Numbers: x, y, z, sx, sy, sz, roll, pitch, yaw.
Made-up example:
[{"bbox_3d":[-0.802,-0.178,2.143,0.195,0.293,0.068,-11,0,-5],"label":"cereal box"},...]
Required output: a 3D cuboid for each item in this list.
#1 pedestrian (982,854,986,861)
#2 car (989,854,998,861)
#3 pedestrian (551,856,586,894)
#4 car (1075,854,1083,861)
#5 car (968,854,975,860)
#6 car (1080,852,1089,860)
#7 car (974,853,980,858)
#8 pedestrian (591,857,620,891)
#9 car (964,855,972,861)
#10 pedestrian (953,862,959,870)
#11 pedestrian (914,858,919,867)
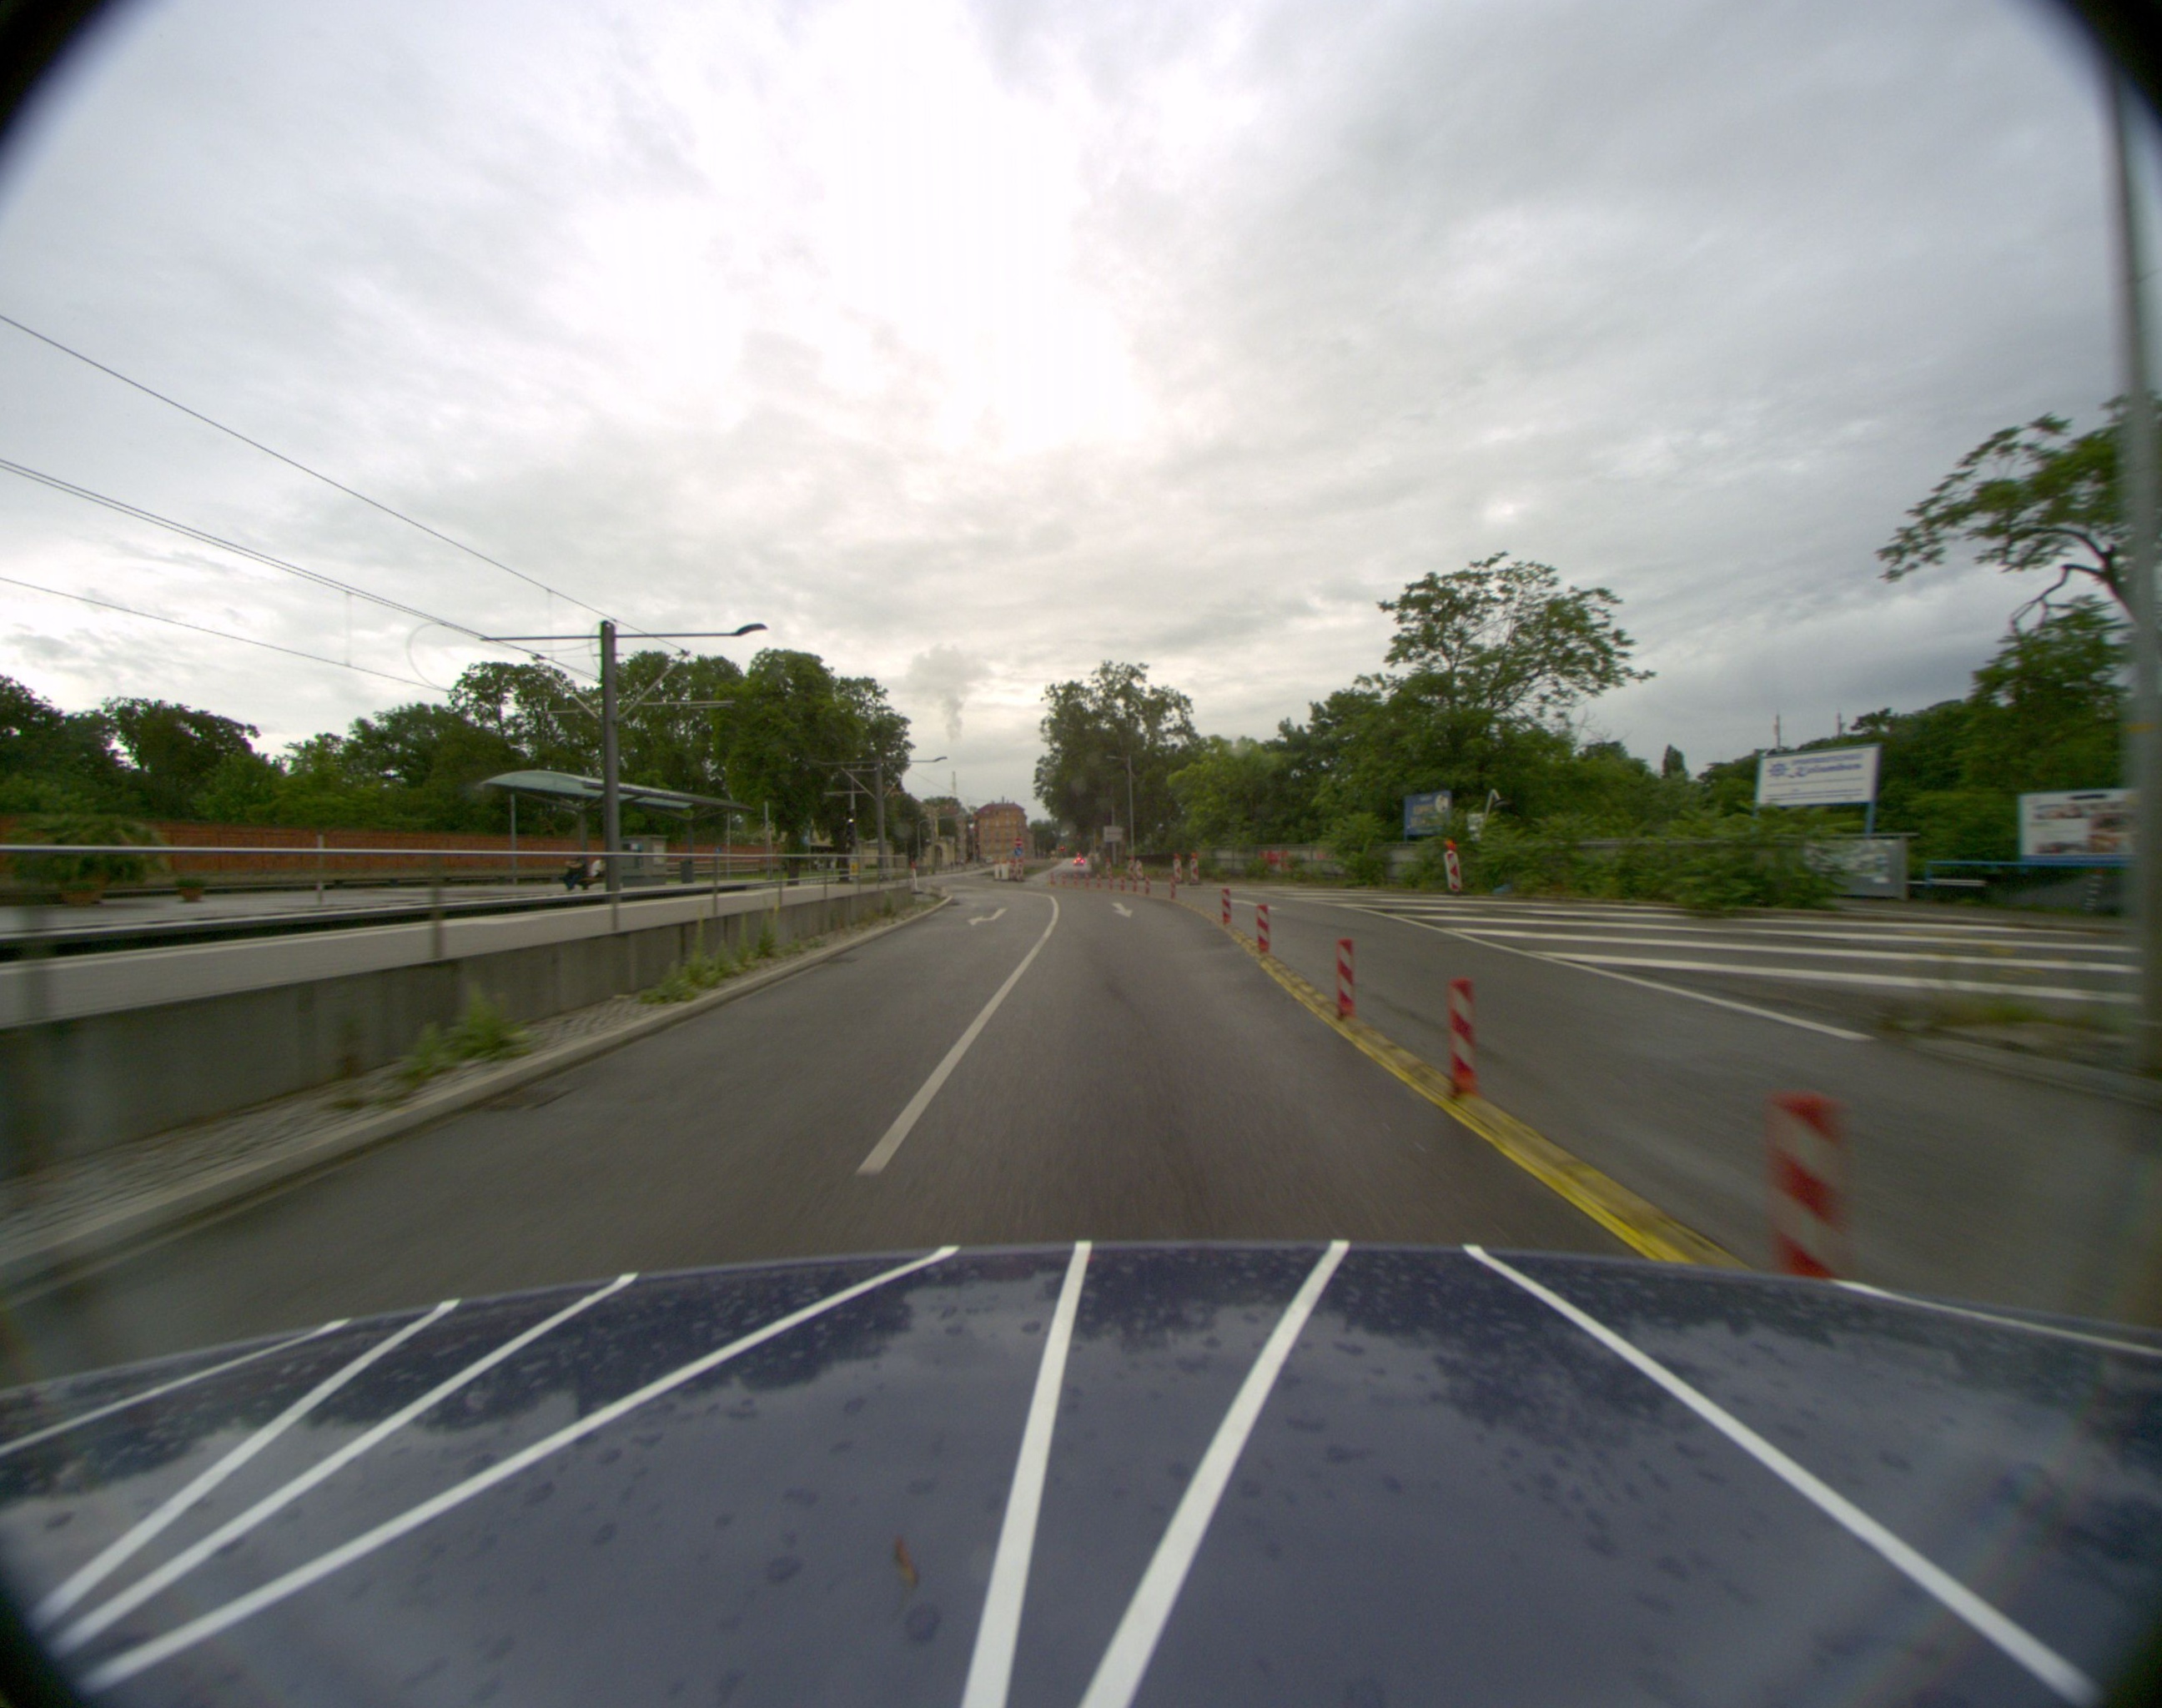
[{"bbox_3d":[-24.897,0.826,195.355,0.783,1.797,0.696,-4,2,-41],"label":"pedestrian"},{"bbox_3d":[-21.659,0.822,188.705,1.844,1.630,4.140,-5,1,-5],"label":"car"},{"bbox_3d":[-17.037,0.691,25.274,0.520,1.206,0.782,-6,2,-4],"label":"pedestrian"},{"bbox_3d":[-0.473,0.831,181.514,1.750,1.421,4.561,0,0,3],"label":"car"},{"bbox_3d":[-31.510,0.839,217.959,1.831,1.573,3.997,-2,1,-6],"label":"car"},{"bbox_3d":[0.721,0.372,147.664,1.713,1.490,4.719,-1,1,-1],"label":"car"},{"bbox_3d":[-35.369,0.434,258.712,1.831,1.573,3.997,-2,1,-6],"label":"car"},{"bbox_3d":[-16.339,0.676,26.129,0.602,1.113,0.519,-6,2,-16],"label":"pedestrian"},{"bbox_3d":[-30.747,1.082,207.108,1.831,1.573,3.997,-2,1,-6],"label":"car"},{"bbox_3d":[-22.790,2.200,138.623,0.863,1.581,0.669,0,1,26],"label":"pedestrian"},{"bbox_3d":[-31.119,1.567,143.480,0.730,1.701,0.981,-1,1,1],"label":"pedestrian"}]
